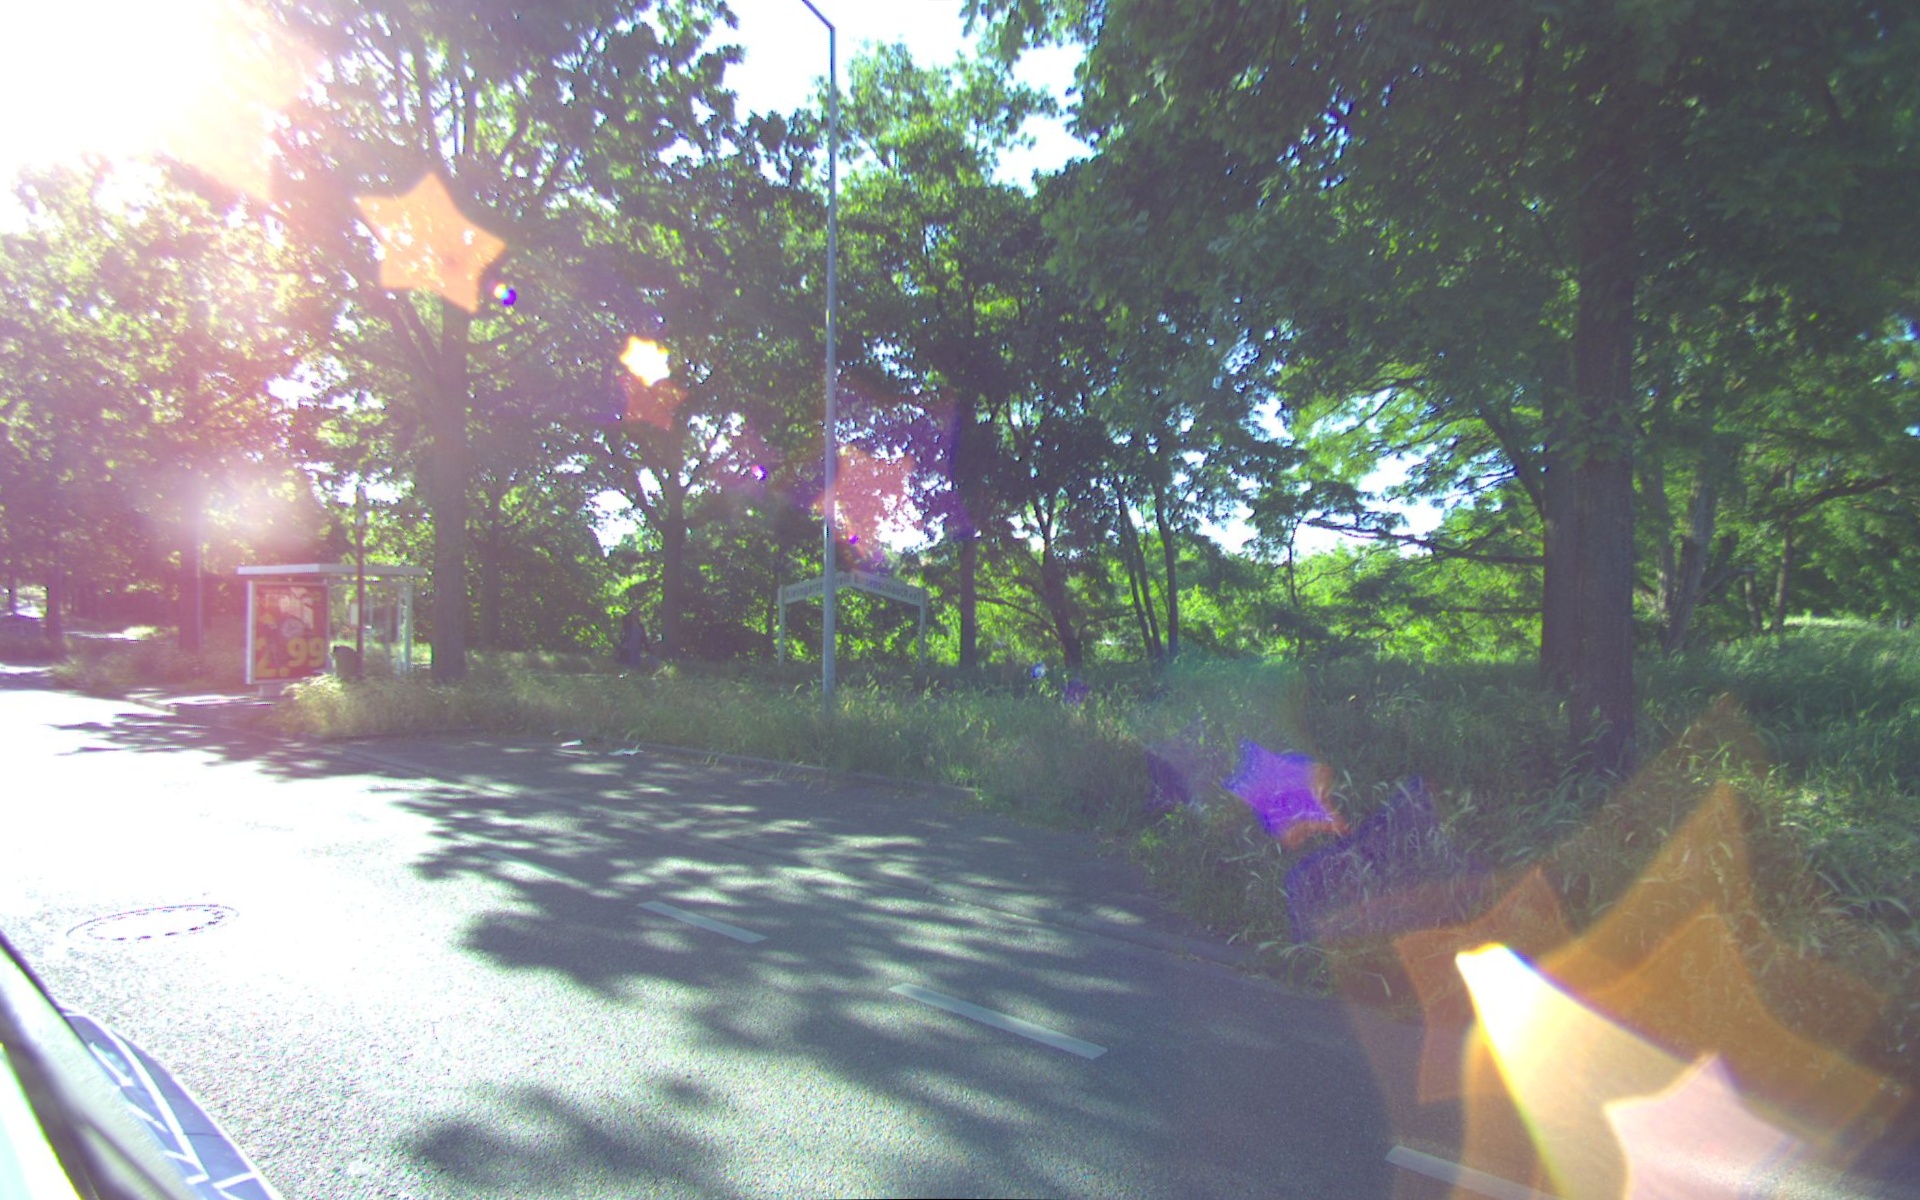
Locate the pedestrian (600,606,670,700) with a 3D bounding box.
[{"bbox_3d":[-6.107,0.971,19.015,0.891,1.701,0.903,-2,-1,42],"label":"pedestrian"}]
